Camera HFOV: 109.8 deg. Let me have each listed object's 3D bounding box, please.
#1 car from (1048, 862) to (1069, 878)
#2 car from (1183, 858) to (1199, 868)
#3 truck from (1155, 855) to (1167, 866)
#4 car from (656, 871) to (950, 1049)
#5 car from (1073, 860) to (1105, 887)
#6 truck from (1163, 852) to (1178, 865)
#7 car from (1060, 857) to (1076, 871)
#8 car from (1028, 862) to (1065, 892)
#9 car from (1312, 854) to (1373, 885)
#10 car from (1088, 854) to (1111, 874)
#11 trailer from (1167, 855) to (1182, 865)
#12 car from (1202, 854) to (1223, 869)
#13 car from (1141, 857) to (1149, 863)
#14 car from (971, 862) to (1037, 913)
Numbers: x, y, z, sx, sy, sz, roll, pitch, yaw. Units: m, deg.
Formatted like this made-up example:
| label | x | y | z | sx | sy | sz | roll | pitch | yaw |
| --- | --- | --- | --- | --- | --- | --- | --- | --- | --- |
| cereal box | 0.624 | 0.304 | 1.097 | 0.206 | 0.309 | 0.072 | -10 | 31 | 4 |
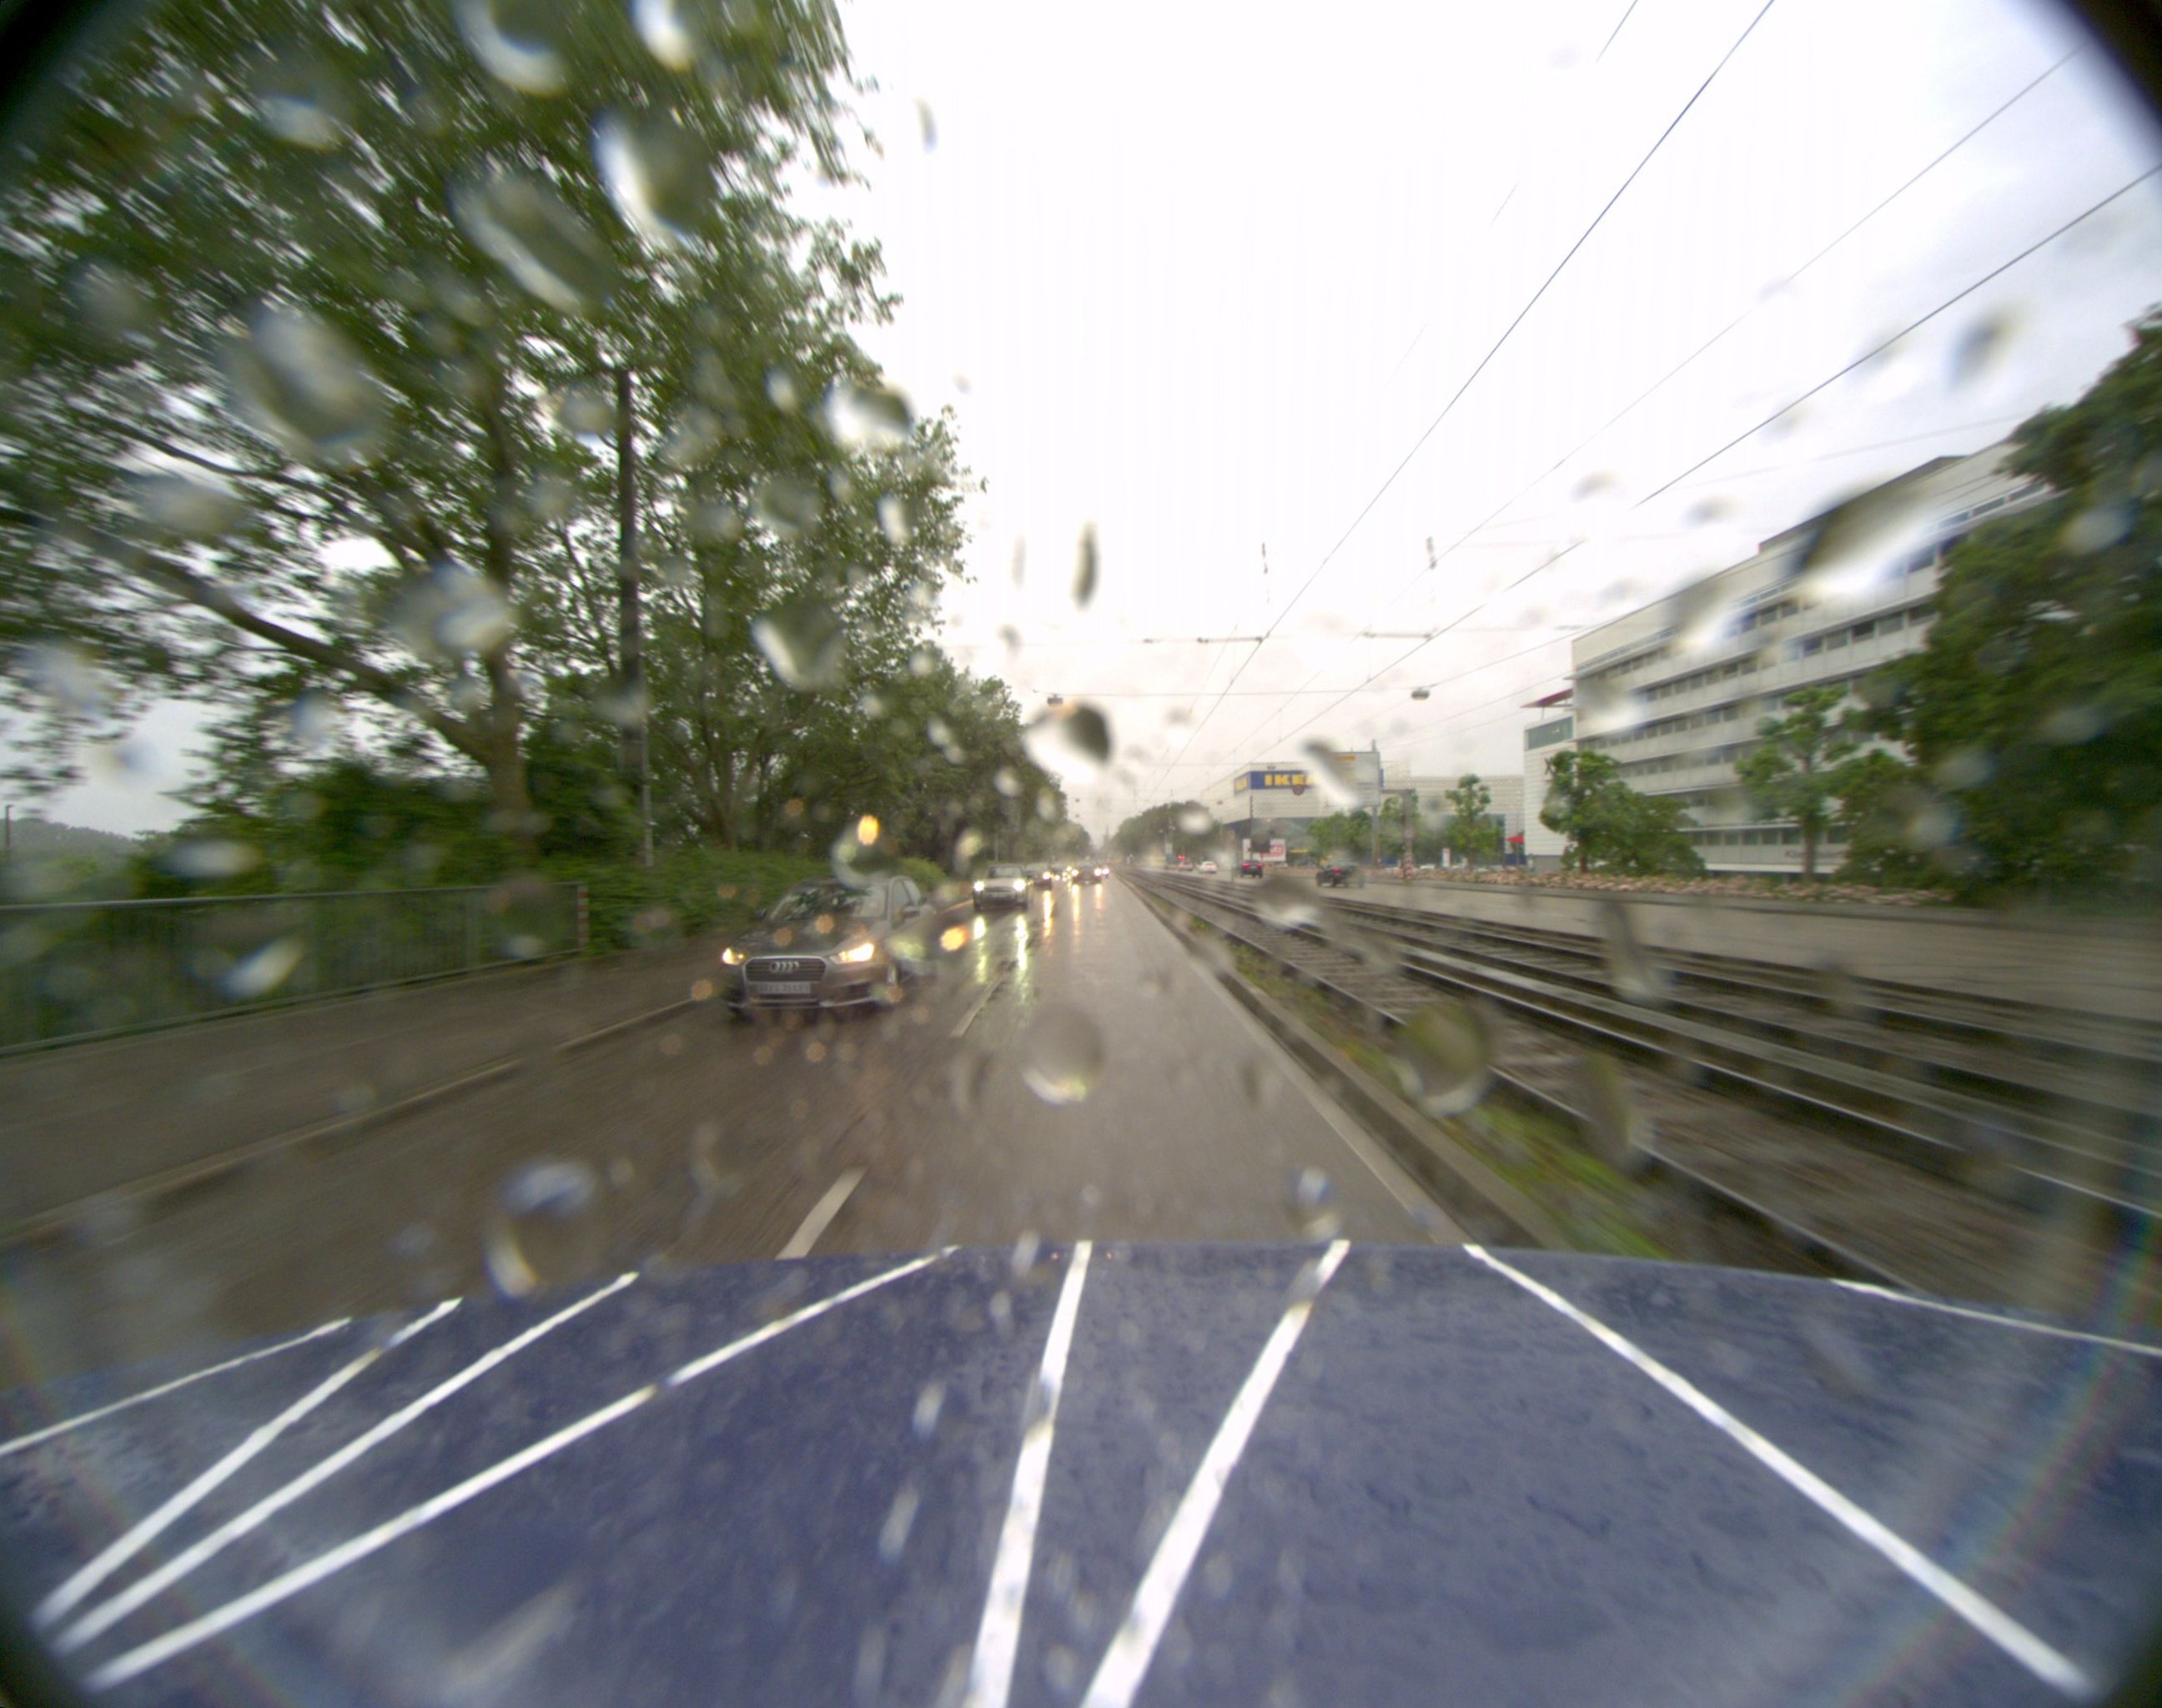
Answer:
| label | x | y | z | sx | sy | sz | roll | pitch | yaw |
| --- | --- | --- | --- | --- | --- | --- | --- | --- | --- |
| car | -2.126 | 1.528 | 72.670 | 1.715 | 1.475 | 4.044 | -3 | -1 | 1 |
| car | 16.611 | 1.369 | 114.875 | 1.998 | 1.574 | 4.767 | 0 | 0 | 2 |
| truck | 18.666 | 1.523 | 177.321 | 2.232 | 2.447 | 6.067 | 1 | 0 | 2 |
| car | -2.873 | 1.007 | 8.920 | 1.973 | 1.519 | 3.991 | -2 | -1 | -1 |
| car | 0.484 | 1.250 | 48.770 | 1.876 | 1.573 | 4.043 | -3 | -1 | 0 |
| truck | 17.373 | 0.879 | 147.774 | 2.441 | 2.443 | 7.220 | 0 | 0 | 2 |
| car | -1.527 | 1.247 | 90.603 | 1.715 | 1.515 | 4.044 | -3 | -1 | 1 |
| car | -1.797 | 1.199 | 40.266 | 1.776 | 1.453 | 4.092 | -3 | -1 | -1 |
| car | 14.169 | 0.815 | 41.446 | 1.998 | 1.608 | 4.254 | -1 | 0 | 3 |
| car | 1.496 | 0.847 | 62.444 | 1.715 | 1.515 | 4.044 | -3 | -1 | 1 |
| trailer | 17.438 | 1.106 | 142.000 | 2.124 | 1.782 | 3.836 | -3 | 0 | 0 |
| car | 15.696 | 0.904 | 90.828 | 1.776 | 1.673 | 4.689 | -1 | 0 | 0 |
| car | 18.153 | 1.633 | 215.502 | 1.823 | 1.613 | 4.536 | -1 | 0 | 1 |
| car | -2.456 | 1.045 | 25.049 | 1.796 | 1.406 | 3.853 | -2 | 1 | -1 |
